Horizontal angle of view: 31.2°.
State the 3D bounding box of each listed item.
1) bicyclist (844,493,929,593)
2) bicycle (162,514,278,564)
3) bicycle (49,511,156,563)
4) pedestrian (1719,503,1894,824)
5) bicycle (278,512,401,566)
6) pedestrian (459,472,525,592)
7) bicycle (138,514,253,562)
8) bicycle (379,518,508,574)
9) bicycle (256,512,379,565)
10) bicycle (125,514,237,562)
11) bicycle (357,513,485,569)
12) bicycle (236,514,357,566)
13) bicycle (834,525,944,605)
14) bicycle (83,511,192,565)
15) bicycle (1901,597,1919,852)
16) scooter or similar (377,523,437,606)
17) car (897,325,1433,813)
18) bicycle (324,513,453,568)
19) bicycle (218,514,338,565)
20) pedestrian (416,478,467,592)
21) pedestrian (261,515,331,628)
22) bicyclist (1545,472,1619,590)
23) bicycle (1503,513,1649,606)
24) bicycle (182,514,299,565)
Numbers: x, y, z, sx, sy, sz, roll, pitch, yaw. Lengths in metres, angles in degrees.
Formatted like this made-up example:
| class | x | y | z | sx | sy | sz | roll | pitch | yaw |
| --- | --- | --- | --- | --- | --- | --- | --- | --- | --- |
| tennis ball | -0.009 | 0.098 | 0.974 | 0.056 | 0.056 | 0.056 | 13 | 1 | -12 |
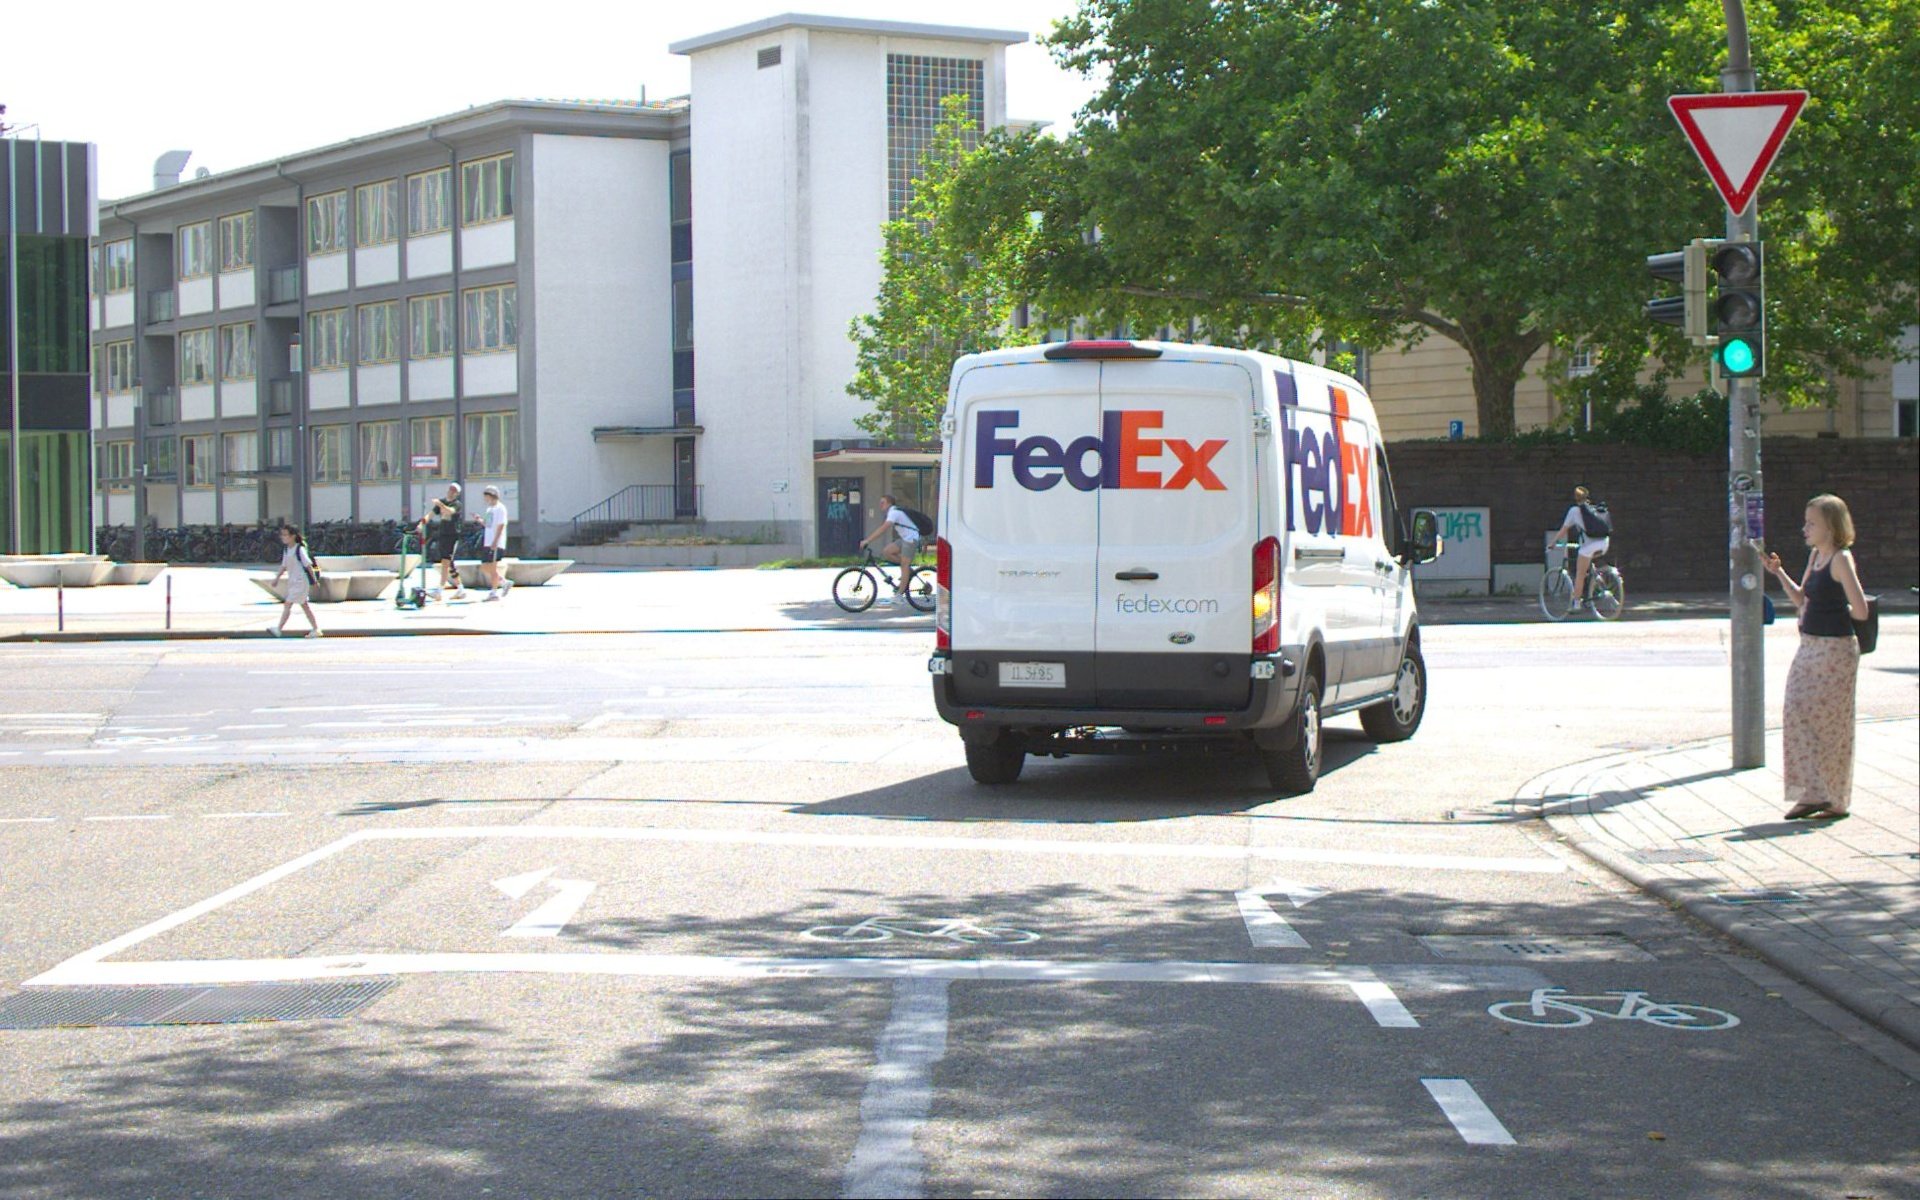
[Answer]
| class | x | y | z | sx | sy | sz | roll | pitch | yaw |
| --- | --- | --- | --- | --- | --- | --- | --- | --- | --- |
| bicyclist | -1.079 | -0.846 | 50.814 | 0.850 | 1.463 | 1.067 | 0 | 2 | 25 |
| bicycle | -20.559 | -1.698 | 95.592 | 2.956 | 1.359 | 1.117 | -1 | 1 | -36 |
| bicycle | -26.092 | -1.914 | 104.668 | 2.956 | 1.569 | 1.117 | -1 | 1 | -36 |
| pedestrian | 4.256 | 0.306 | 17.318 | 0.731 | 1.570 | 0.775 | -1 | 1 | 6 |
| bicycle | -16.045 | -1.585 | 88.962 | 2.956 | 1.359 | 1.117 | -1 | 1 | -36 |
| pedestrian | -7.441 | -1.082 | 54.588 | 0.865 | 1.882 | 0.913 | -1 | 1 | -18 |
| bicycle | -21.667 | -1.755 | 97.462 | 2.956 | 1.359 | 1.117 | -1 | 1 | -36 |
| bicycle | -12.656 | -1.337 | 84.337 | 2.956 | 1.359 | 1.117 | -1 | 1 | -36 |
| bicycle | -16.818 | -1.606 | 90.038 | 2.956 | 1.359 | 1.117 | -1 | 1 | -36 |
| bicycle | -22.350 | -1.781 | 98.659 | 2.956 | 1.359 | 1.117 | -1 | 1 | -36 |
| bicycle | -13.380 | -1.468 | 85.453 | 2.956 | 1.359 | 1.117 | -1 | 1 | -36 |
| bicycle | -17.571 | -1.602 | 91.111 | 2.956 | 1.359 | 1.117 | -1 | 1 | -36 |
| bicycle | -1.045 | -0.531 | 50.893 | 0.848 | 1.141 | 1.993 | 0 | 2 | 24 |
| bicycle | -24.471 | -1.850 | 102.335 | 2.956 | 1.569 | 1.117 | -1 | 1 | -36 |
| bicycle | 4.879 | 0.517 | 15.852 | 0.592 | 1.123 | 1.740 | -3 | 0 | 29 |
| scooter or similar | -8.370 | -0.552 | 51.963 | 0.716 | 1.174 | 2.726 | -1 | 2 | -13 |
| car | 1.446 | -0.247 | 21.173 | 2.097 | 2.557 | 5.598 | 2 | 2 | 16 |
| bicycle | -14.407 | -1.497 | 86.743 | 2.956 | 1.359 | 1.275 | -1 | 1 | -36 |
| bicycle | -18.284 | -1.620 | 92.153 | 2.956 | 1.359 | 1.117 | -1 | 1 | -36 |
| pedestrian | -8.341 | -1.042 | 55.263 | 0.668 | 1.808 | 0.816 | -1 | 1 | -18 |
| pedestrian | -9.013 | -0.396 | 46.644 | 0.824 | 1.518 | 0.815 | -1 | 1 | -18 |
| bicyclist | 7.724 | -0.854 | 42.699 | 0.514 | 1.447 | 0.787 | -1 | 1 | -28 |
| bicycle | 7.663 | -0.510 | 42.864 | 0.550 | 1.127 | 2.174 | -1 | 2 | -29 |
| bicycle | -19.684 | -1.664 | 94.086 | 2.956 | 1.359 | 1.117 | -1 | 1 | -36 |
